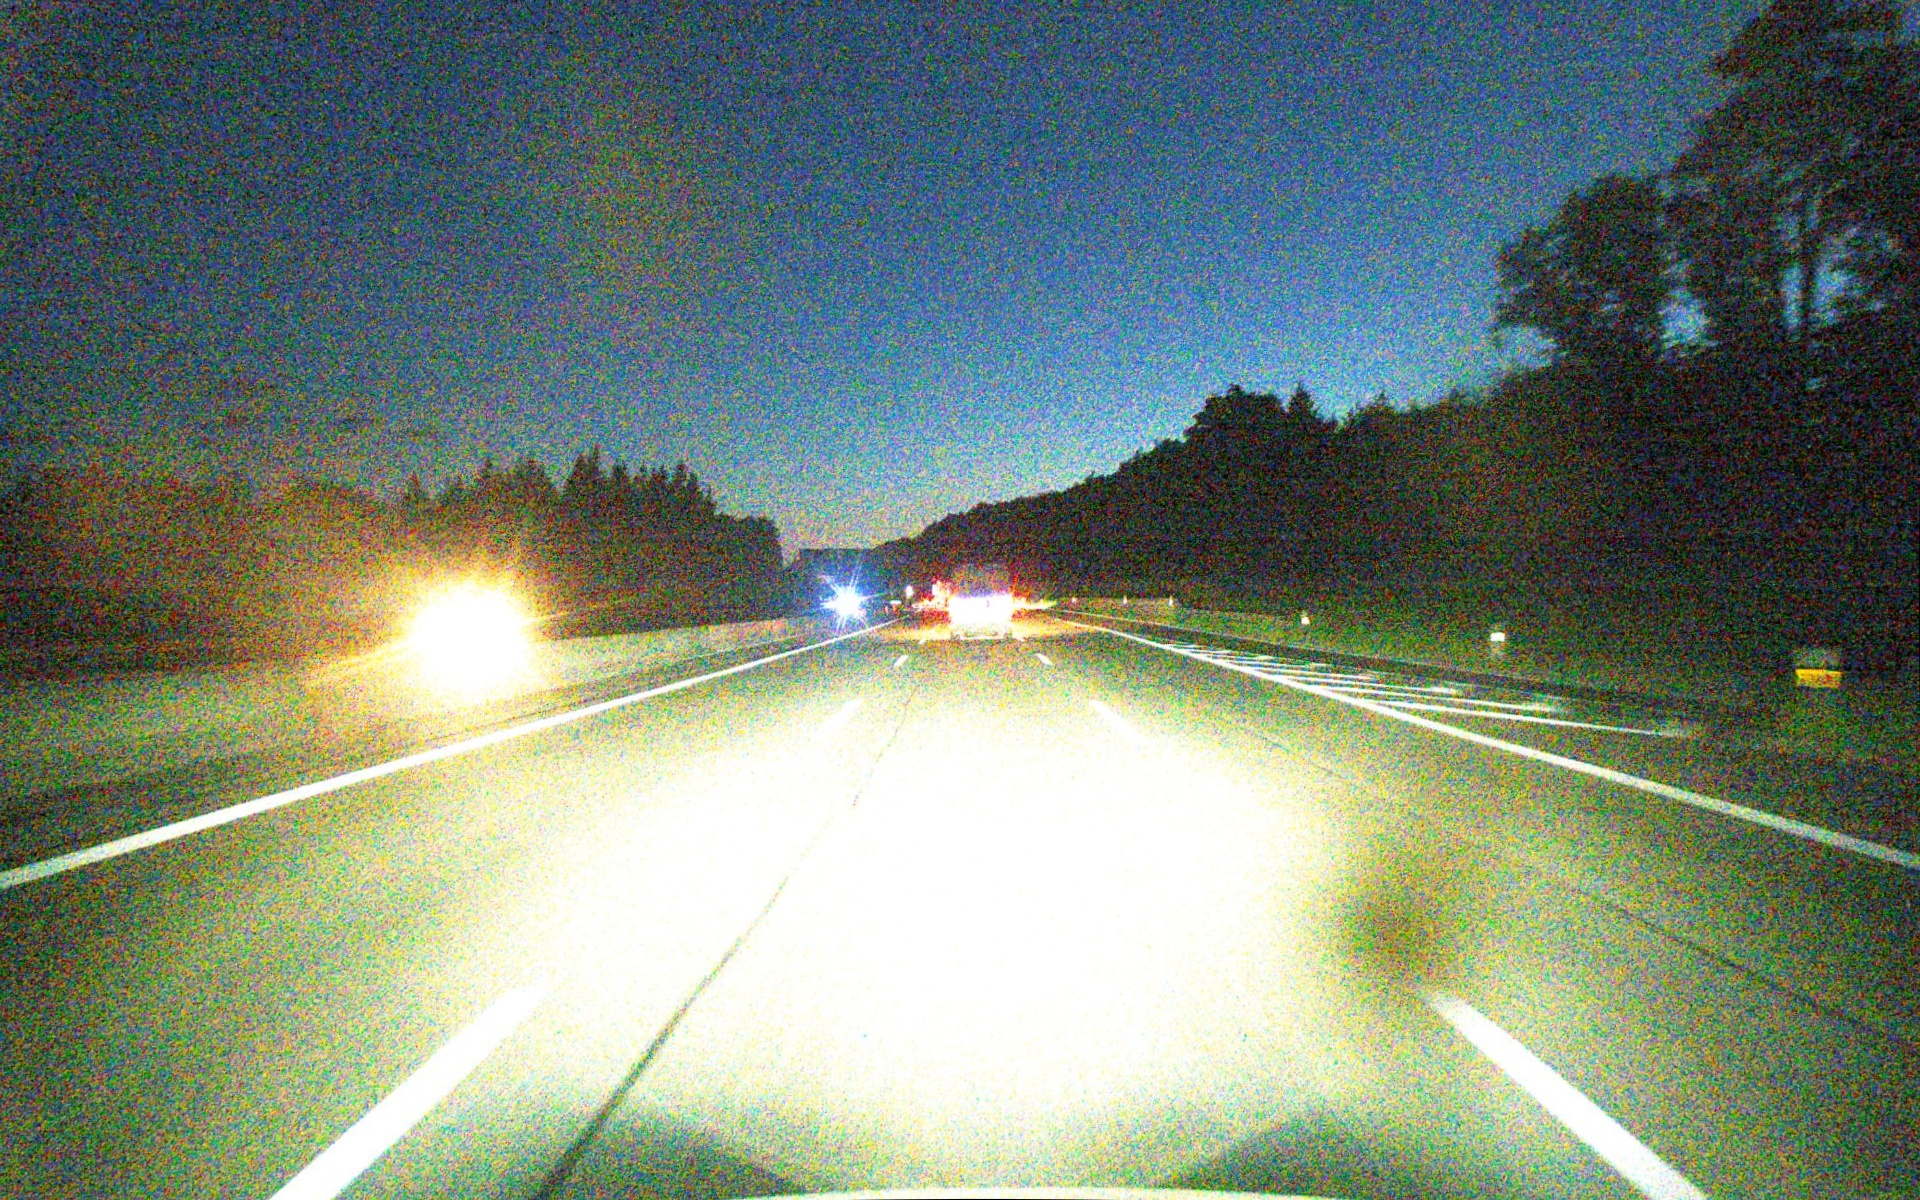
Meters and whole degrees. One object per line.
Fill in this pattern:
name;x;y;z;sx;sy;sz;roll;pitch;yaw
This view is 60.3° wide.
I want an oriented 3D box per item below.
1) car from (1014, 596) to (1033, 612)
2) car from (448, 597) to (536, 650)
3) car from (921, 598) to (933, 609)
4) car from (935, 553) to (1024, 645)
car;6.559;0.414;170.521;1.806;1.668;4.000;0;1;-1
car;-18.354;0.887;65.131;1.987;2.003;5.396;-1;0;-1
car;-5.044;0.537;253.437;1.806;1.668;4.000;0;1;-1
car;0.597;-0.028;54.326;2.729;2.781;6.298;-1;0;0
